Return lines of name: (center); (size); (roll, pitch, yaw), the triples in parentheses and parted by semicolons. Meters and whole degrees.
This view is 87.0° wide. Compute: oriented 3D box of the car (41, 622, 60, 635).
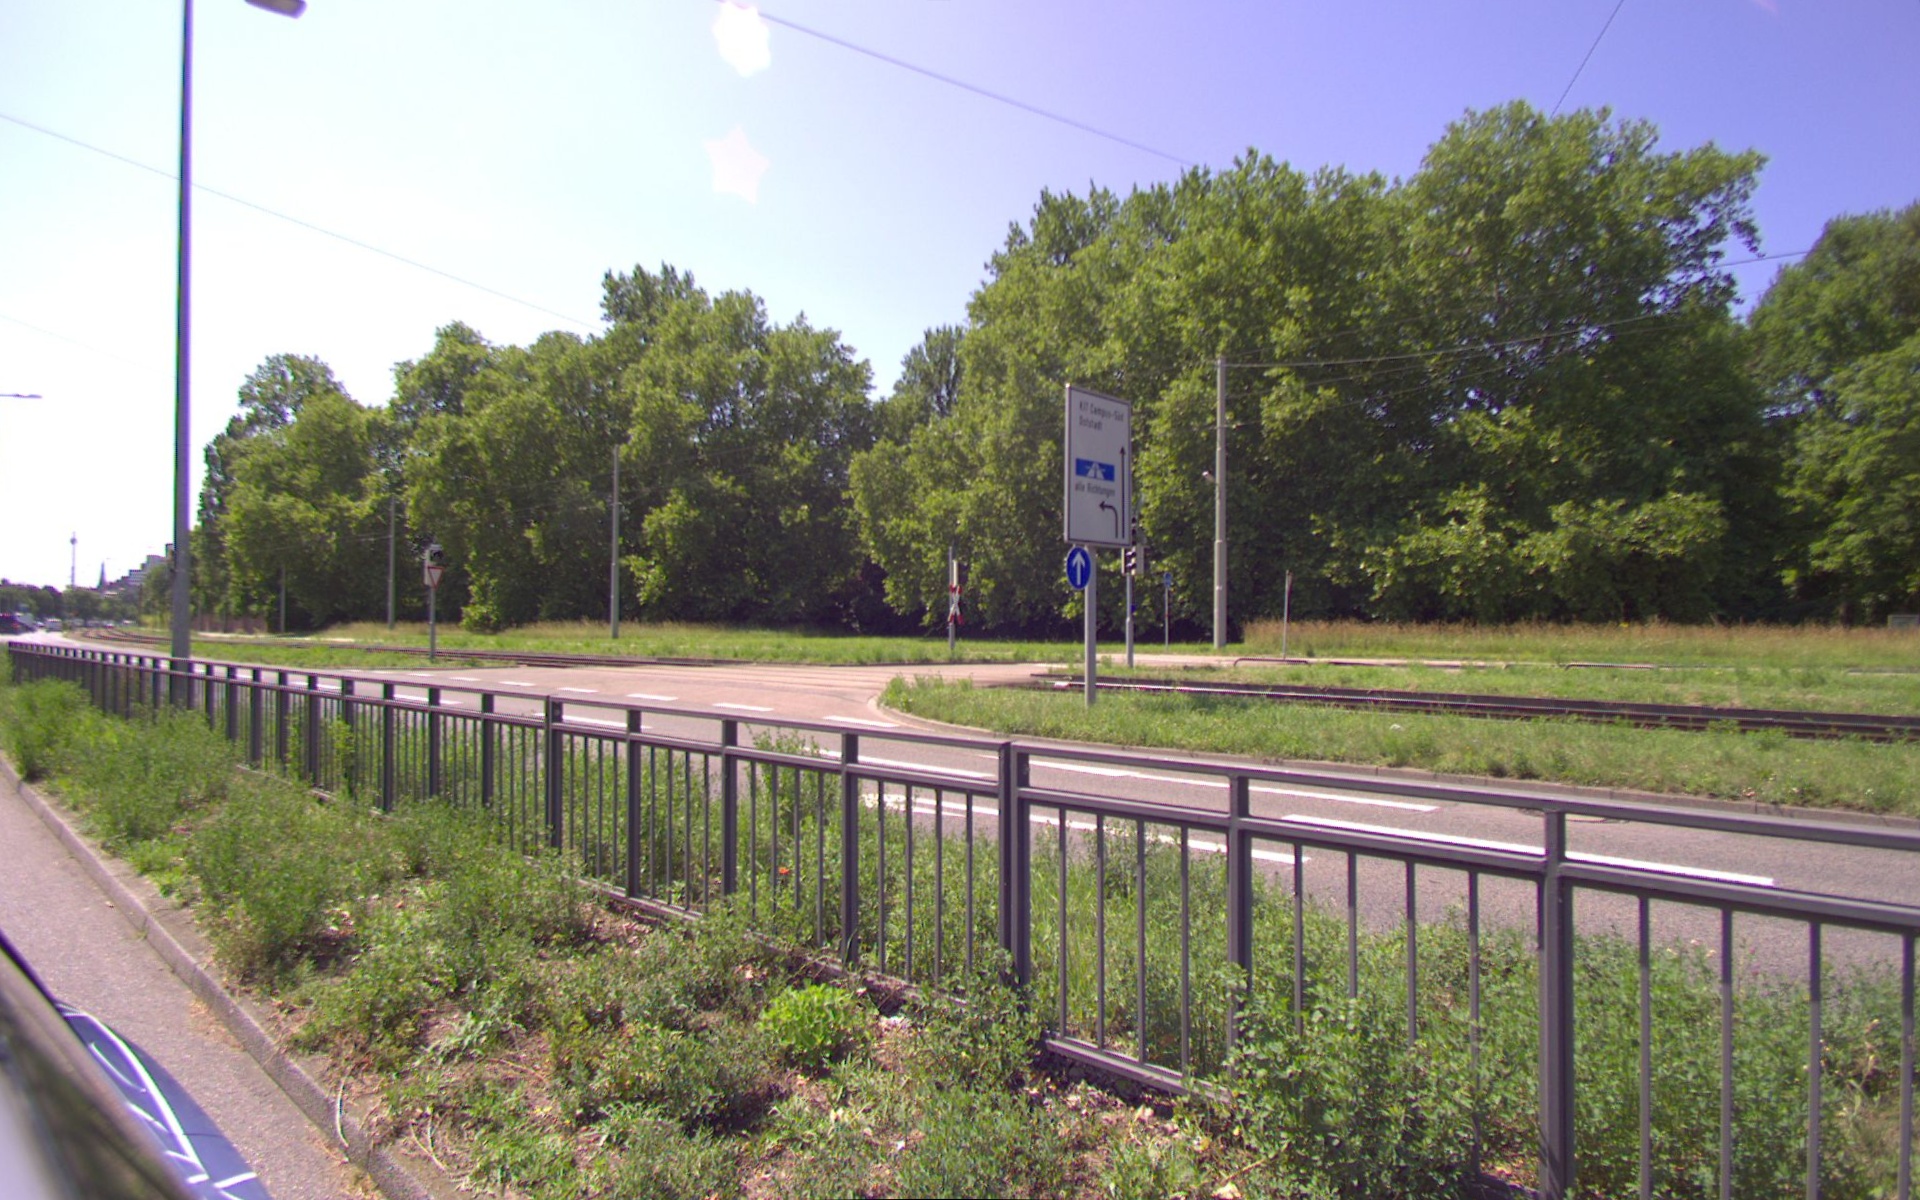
car: (-136.522, 4.290, 151.870); (1.970, 1.871, 4.003); (1, -2, -44)

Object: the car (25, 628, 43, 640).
car: (-147.899, 5.396, 161.700); (1.970, 1.871, 4.003); (1, -2, -44)

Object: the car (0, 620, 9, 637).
car: (-107.849, 3.208, 113.286); (1.970, 1.871, 4.004); (1, -2, -43)
